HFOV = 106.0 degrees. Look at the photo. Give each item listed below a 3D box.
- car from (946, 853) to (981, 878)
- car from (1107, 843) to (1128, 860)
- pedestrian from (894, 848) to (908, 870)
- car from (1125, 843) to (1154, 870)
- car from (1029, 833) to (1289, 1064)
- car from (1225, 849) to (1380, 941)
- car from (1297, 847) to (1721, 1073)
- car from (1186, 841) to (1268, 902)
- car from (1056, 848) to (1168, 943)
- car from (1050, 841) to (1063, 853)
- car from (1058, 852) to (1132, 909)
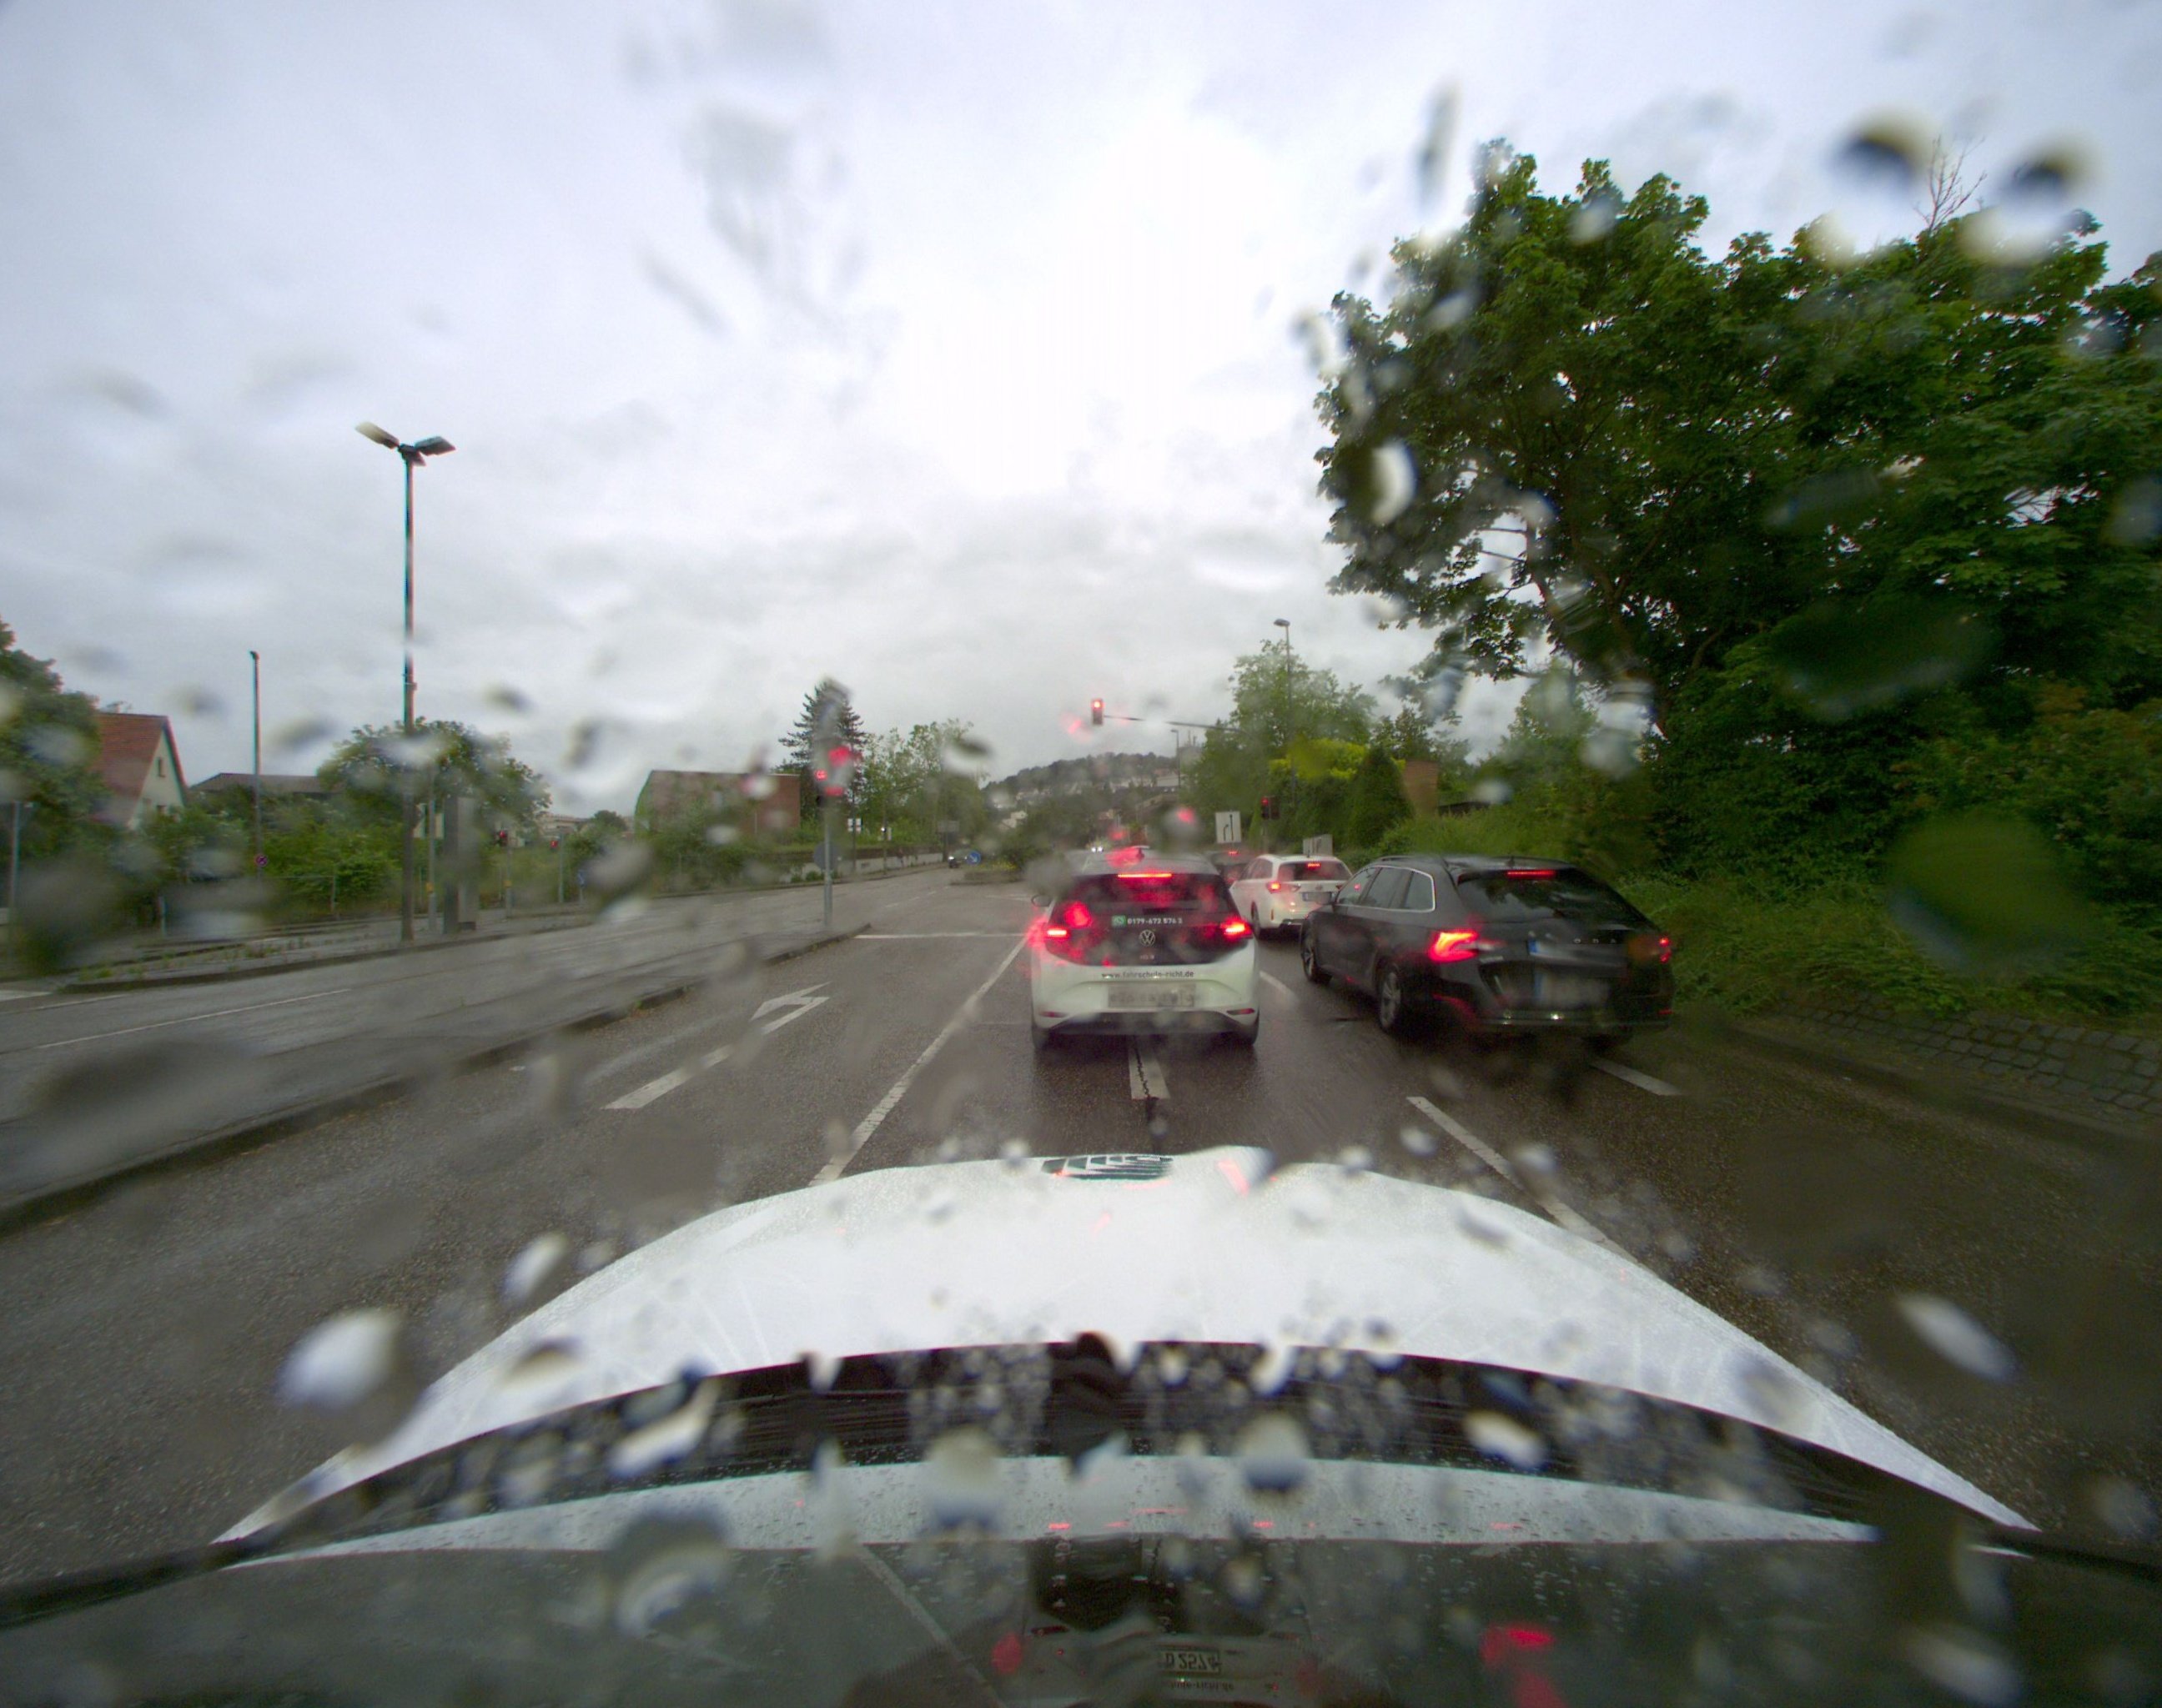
[{"bbox_3d":[-9.502,0.929,66.246,1.986,1.804,4.002,-4,0,2],"label":"car"},{"bbox_3d":[3.484,-0.249,77.982,1.755,1.418,3.748,-3,0,0],"label":"car"},{"bbox_3d":[-13.344,0.390,60.424,0.757,1.568,0.825,-4,0,1],"label":"pedestrian"},{"bbox_3d":[3.454,0.154,48.319,1.574,1.467,4.004,-3,-1,4],"label":"car"},{"bbox_3d":[0.602,0.655,8.055,1.831,1.629,4.617,0,0,1],"label":"car"},{"bbox_3d":[3.883,0.639,15.021,1.831,1.466,4.118,0,0,1],"label":"car"},{"bbox_3d":[3.366,0.677,7.500,1.830,1.466,4.353,0,0,3],"label":"car"},{"bbox_3d":[4.105,0.472,23.389,1.769,1.581,4.002,0,0,2],"label":"car"},{"bbox_3d":[0.553,0.659,15.342,1.831,1.555,4.176,0,0,1],"label":"car"},{"bbox_3d":[-4.162,-1.251,140.824,1.986,2.014,4.002,-1,-1,2],"label":"car"},{"bbox_3d":[0.389,0.658,22.044,1.831,1.400,3.832,0,0,1],"label":"car"}]
